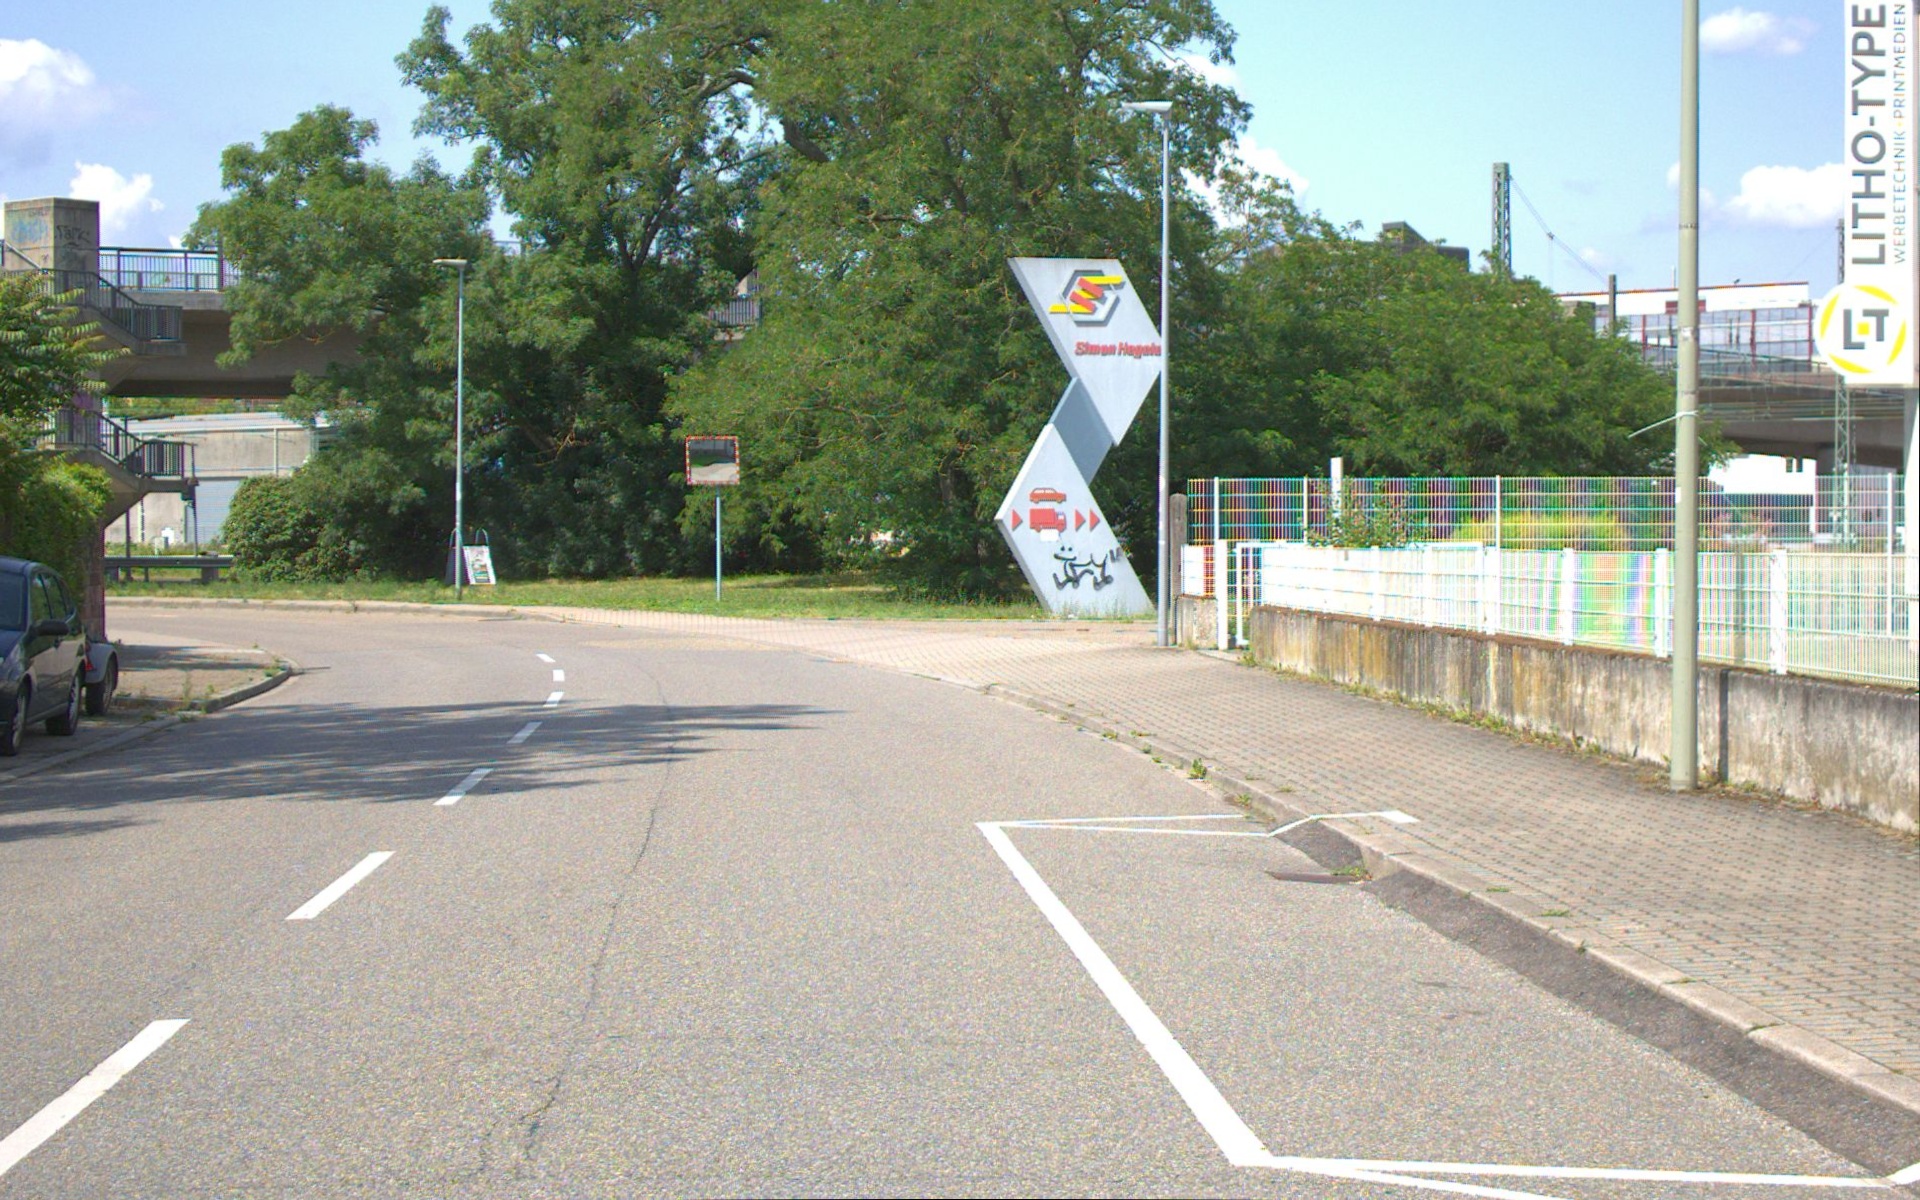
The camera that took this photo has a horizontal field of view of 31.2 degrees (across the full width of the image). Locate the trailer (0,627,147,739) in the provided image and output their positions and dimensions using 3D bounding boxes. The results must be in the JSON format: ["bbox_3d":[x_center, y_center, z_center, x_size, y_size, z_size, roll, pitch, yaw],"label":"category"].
[{"bbox_3d":[-8.545,0.749,31.864,1.464,0.848,2.467,5,0,-3],"label":"trailer"}]

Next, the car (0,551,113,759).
[{"bbox_3d":[-8.026,0.352,27.476,1.682,1.507,4.158,4,0,-4],"label":"car"}]
